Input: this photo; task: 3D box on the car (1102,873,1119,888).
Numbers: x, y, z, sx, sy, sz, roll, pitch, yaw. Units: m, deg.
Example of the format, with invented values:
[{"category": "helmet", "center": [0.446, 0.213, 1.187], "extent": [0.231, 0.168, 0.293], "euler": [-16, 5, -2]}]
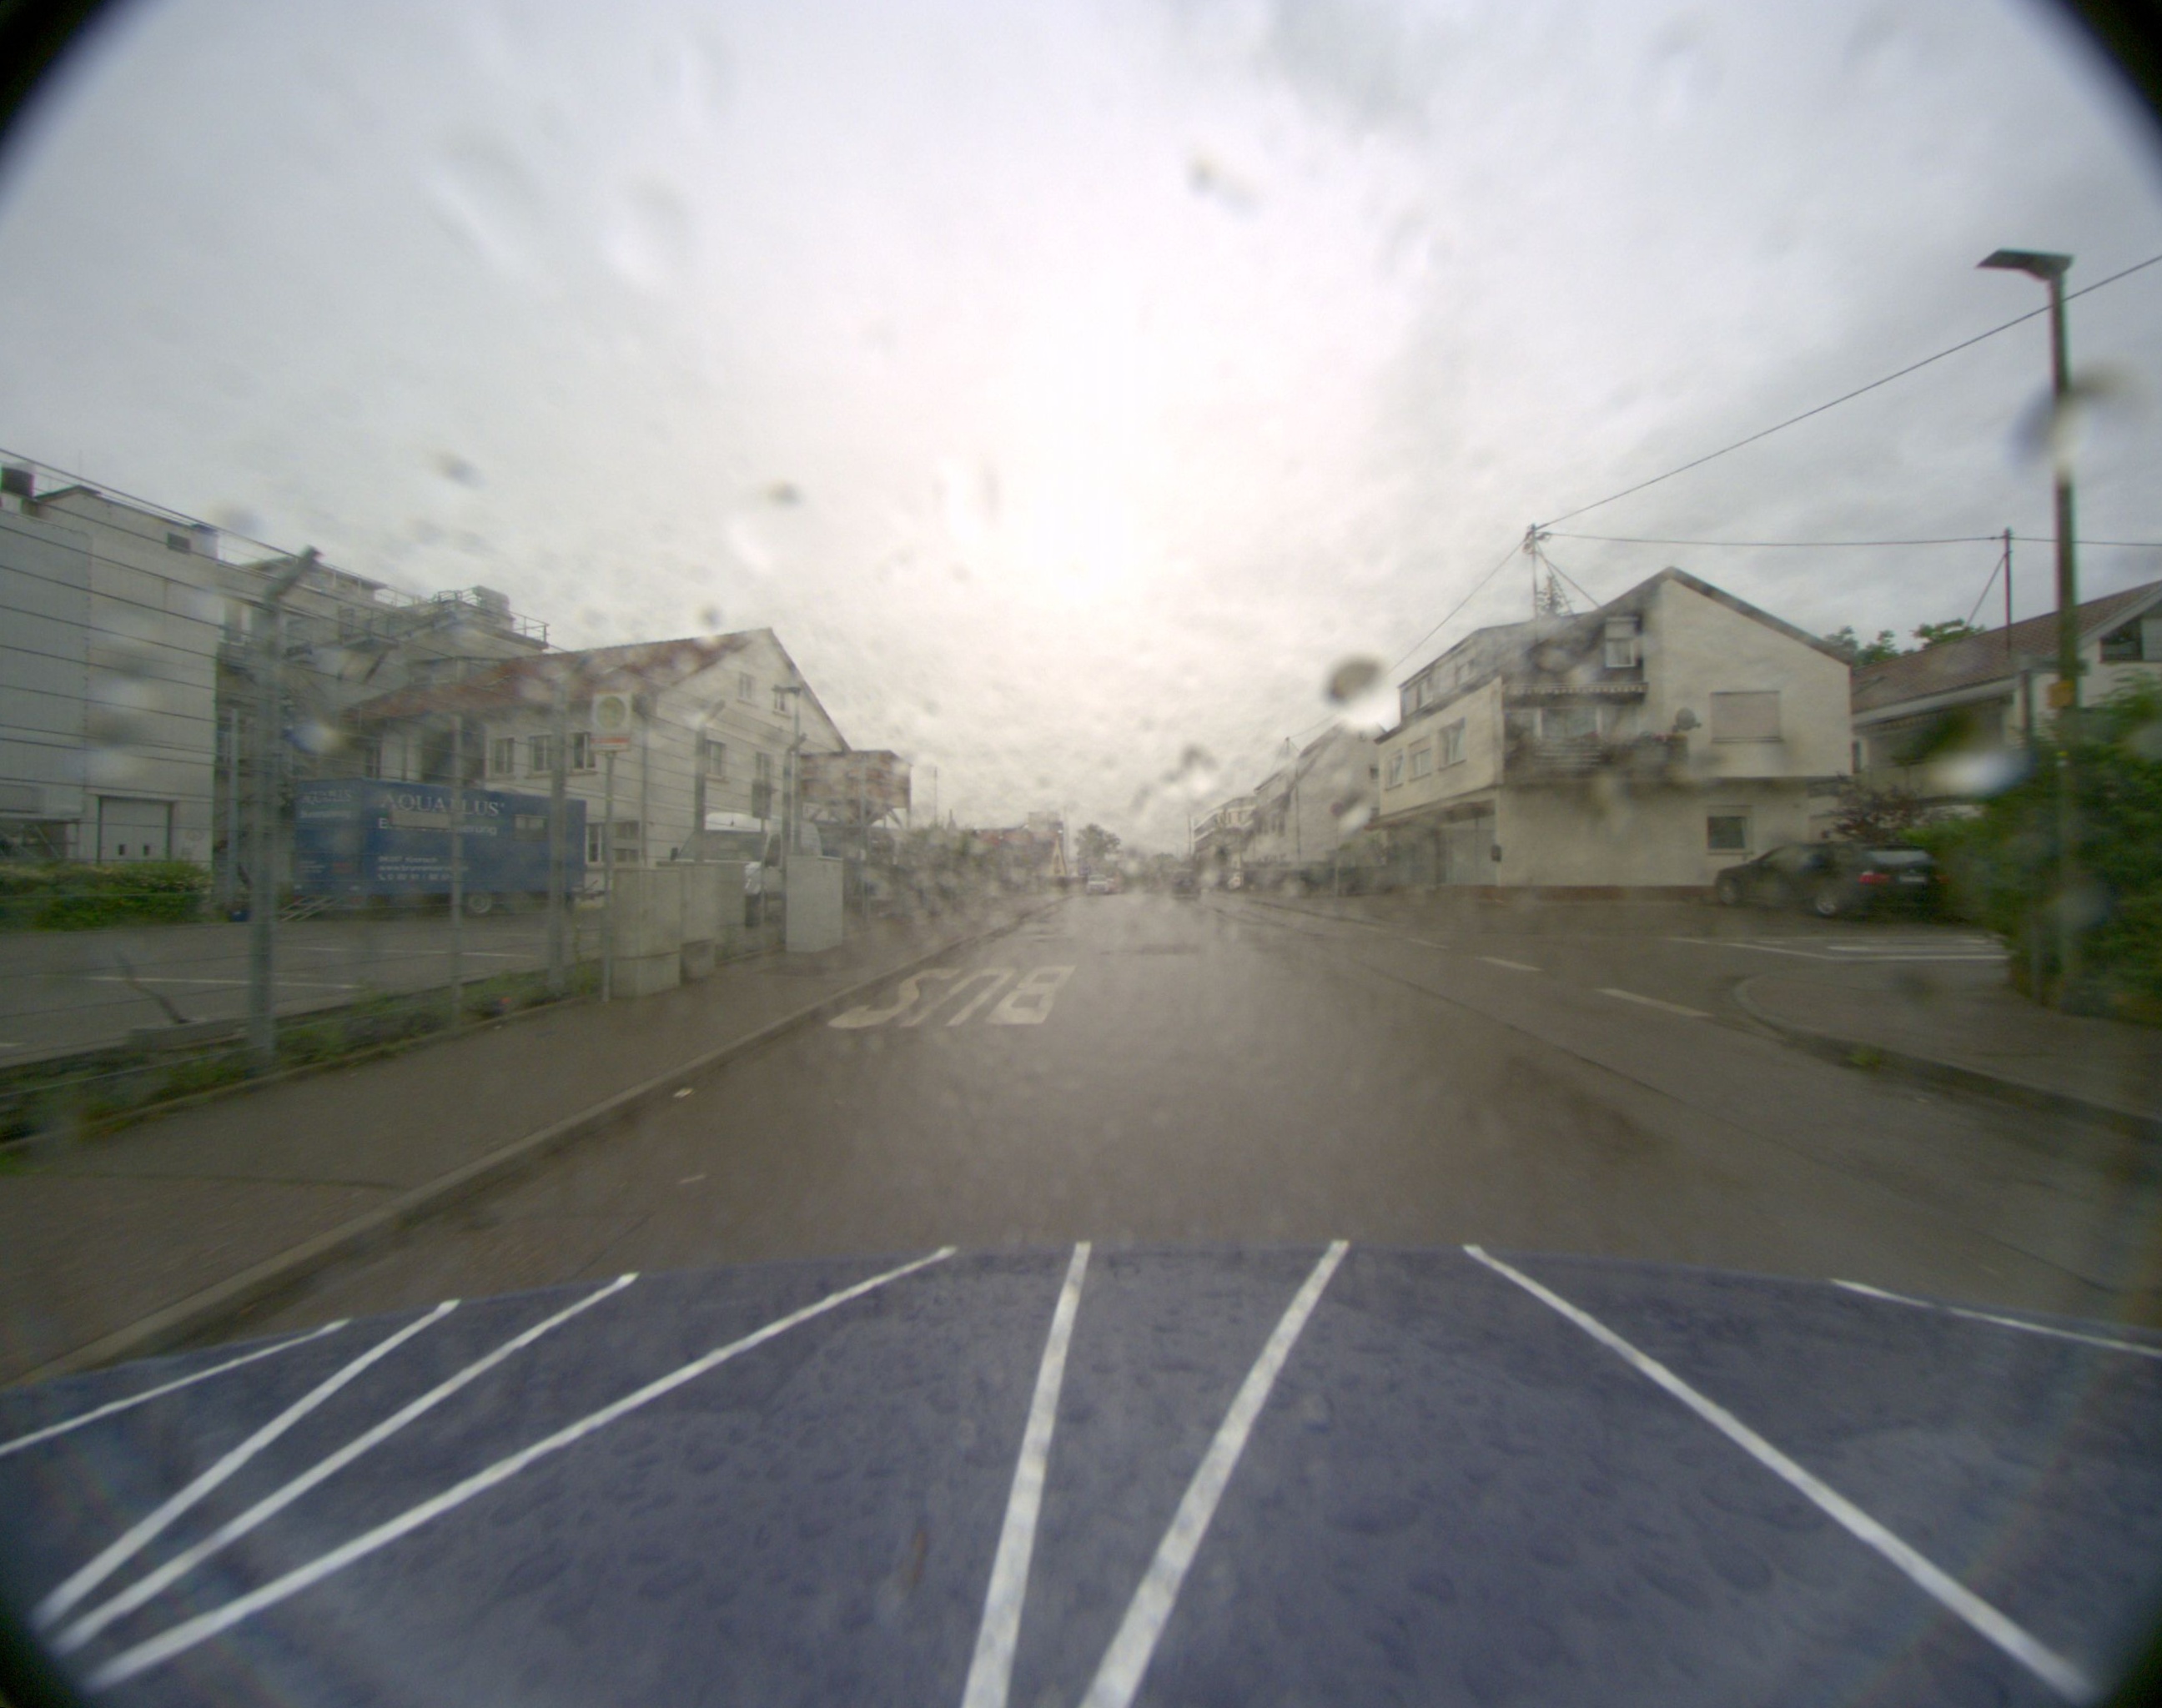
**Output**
[{"category": "car", "center": [3.243, 2.901, 84.297], "extent": [1.897, 1.470, 4.000], "euler": [1, 0, 2]}]

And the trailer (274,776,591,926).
[{"category": "trailer", "center": [-14.349, -0.078, 17.249], "extent": [2.630, 2.875, 4.637], "euler": [-2, 1, 20]}]

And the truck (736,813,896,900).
[{"category": "truck", "center": [-10.002, 0.074, 29.634], "extent": [2.323, 2.951, 7.139], "euler": [0, 0, 14]}]

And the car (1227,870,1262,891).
[{"category": "car", "center": [12.741, 2.034, 59.375], "extent": [1.897, 1.524, 4.000], "euler": [1, 0, 2]}]

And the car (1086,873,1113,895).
[{"category": "car", "center": [1.417, 2.251, 57.735], "extent": [1.897, 1.537, 4.000], "euler": [1, 0, 2]}]

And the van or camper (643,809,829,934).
[{"category": "van or camper", "center": [-7.905, 0.359, 18.203], "extent": [2.090, 2.481, 5.803], "euler": [1, 0, -3]}]

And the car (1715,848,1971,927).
[{"category": "car", "center": [17.821, 0.702, 18.143], "extent": [1.998, 1.647, 4.199], "euler": [1, 0, 3]}]

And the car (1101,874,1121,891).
[{"category": "car", "center": [2.974, 2.804, 75.789], "extent": [1.897, 1.470, 4.000], "euler": [1, 0, 2]}]

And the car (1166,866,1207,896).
[{"category": "car", "center": [6.034, 1.509, 43.713], "extent": [1.897, 1.524, 4.000], "euler": [1, 0, 2]}]
